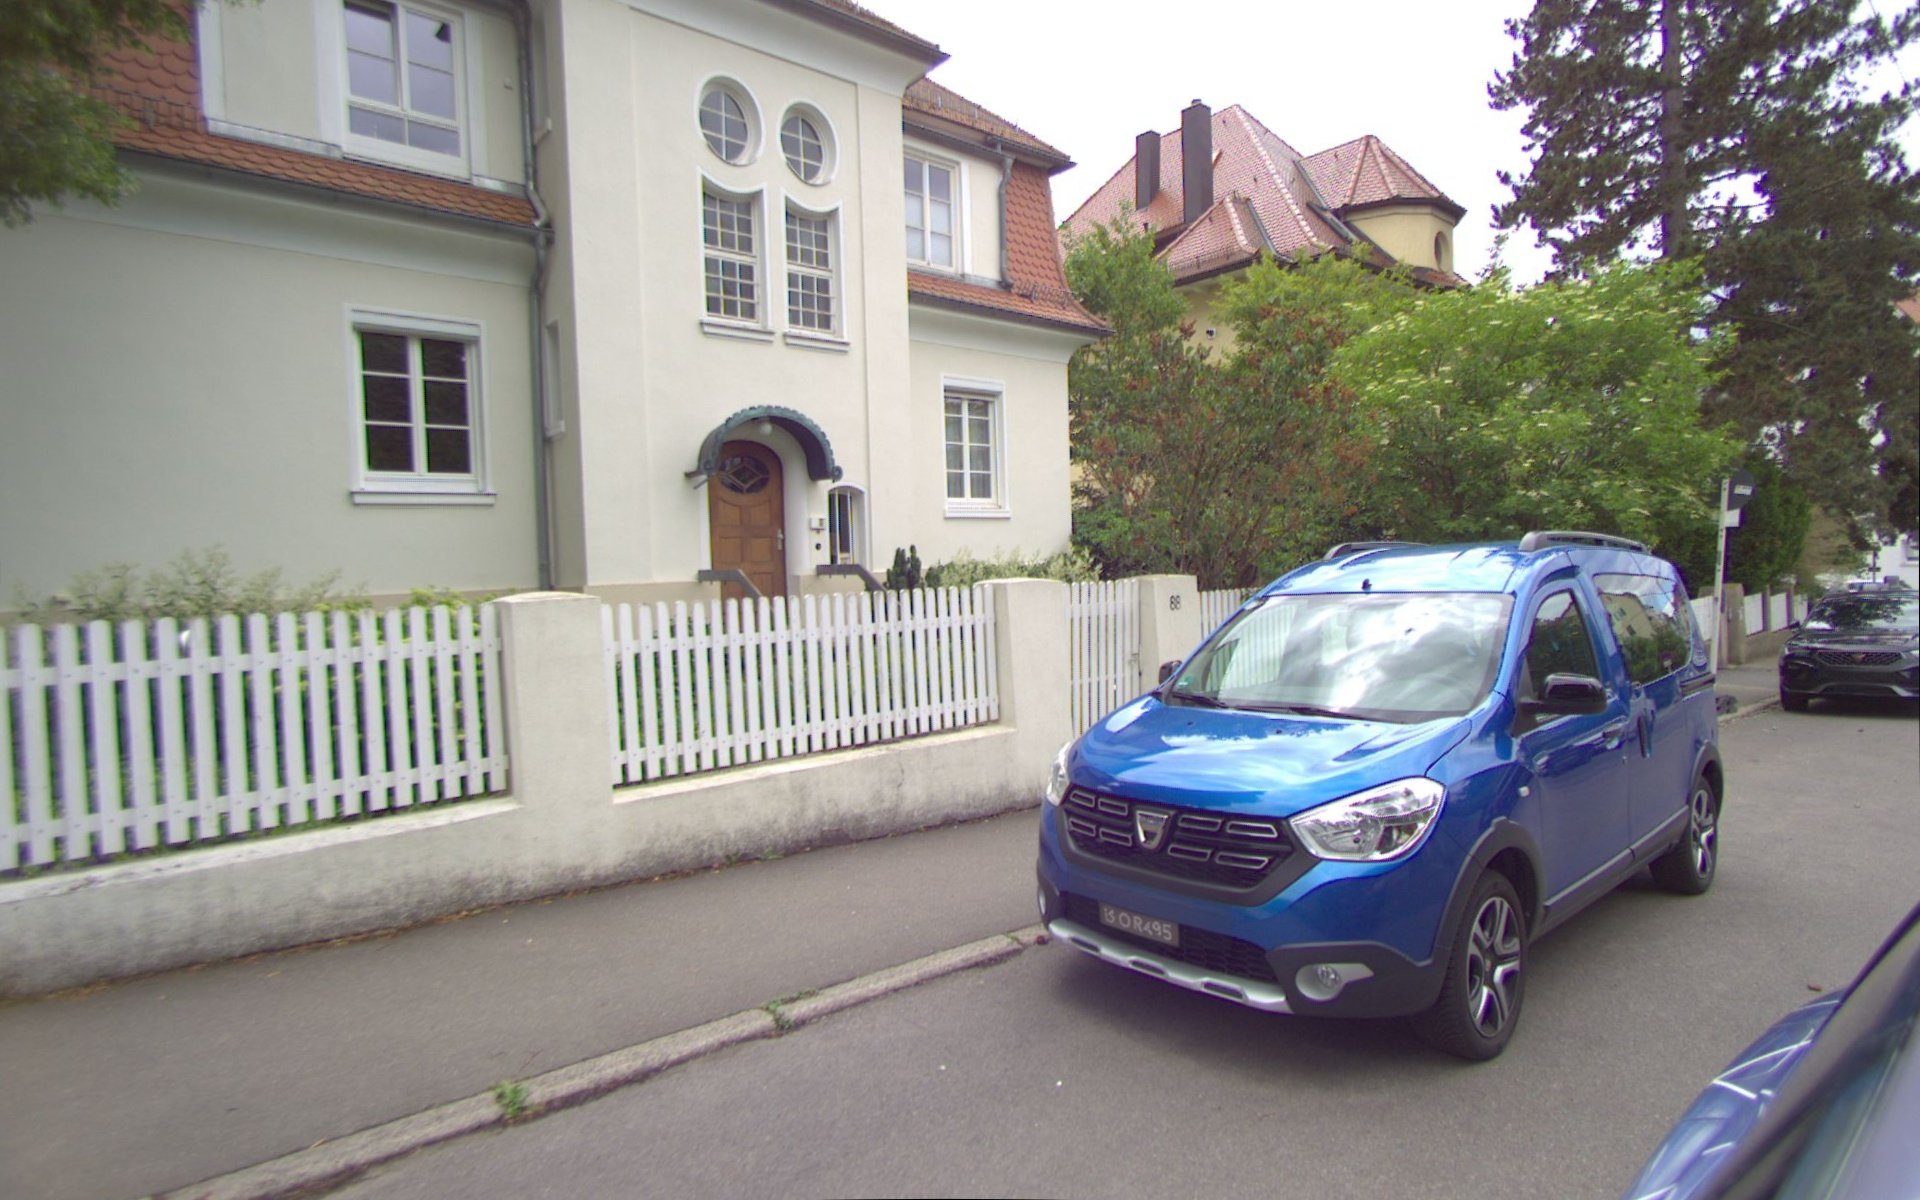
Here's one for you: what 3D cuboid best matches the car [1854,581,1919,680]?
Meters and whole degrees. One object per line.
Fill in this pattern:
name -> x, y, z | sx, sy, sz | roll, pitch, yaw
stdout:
car -> 17.310, 0.464, 17.852 | 4.231, 1.624, 1.787 | -1, -1, -42

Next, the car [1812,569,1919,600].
car -> 45.213, -0.753, 50.056 | 1.728, 1.468, 4.365 | -2, 0, -27

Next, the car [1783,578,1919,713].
car -> 12.944, 0.526, 13.967 | 4.005, 1.628, 1.752 | -2, -1, -41

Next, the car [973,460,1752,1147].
car -> 2.151, 0.559, 4.741 | 4.084, 1.853, 1.684 | 0, -2, -41

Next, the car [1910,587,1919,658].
car -> 21.975, 0.414, 21.877 | 3.981, 1.477, 1.650 | -2, 0, -41
